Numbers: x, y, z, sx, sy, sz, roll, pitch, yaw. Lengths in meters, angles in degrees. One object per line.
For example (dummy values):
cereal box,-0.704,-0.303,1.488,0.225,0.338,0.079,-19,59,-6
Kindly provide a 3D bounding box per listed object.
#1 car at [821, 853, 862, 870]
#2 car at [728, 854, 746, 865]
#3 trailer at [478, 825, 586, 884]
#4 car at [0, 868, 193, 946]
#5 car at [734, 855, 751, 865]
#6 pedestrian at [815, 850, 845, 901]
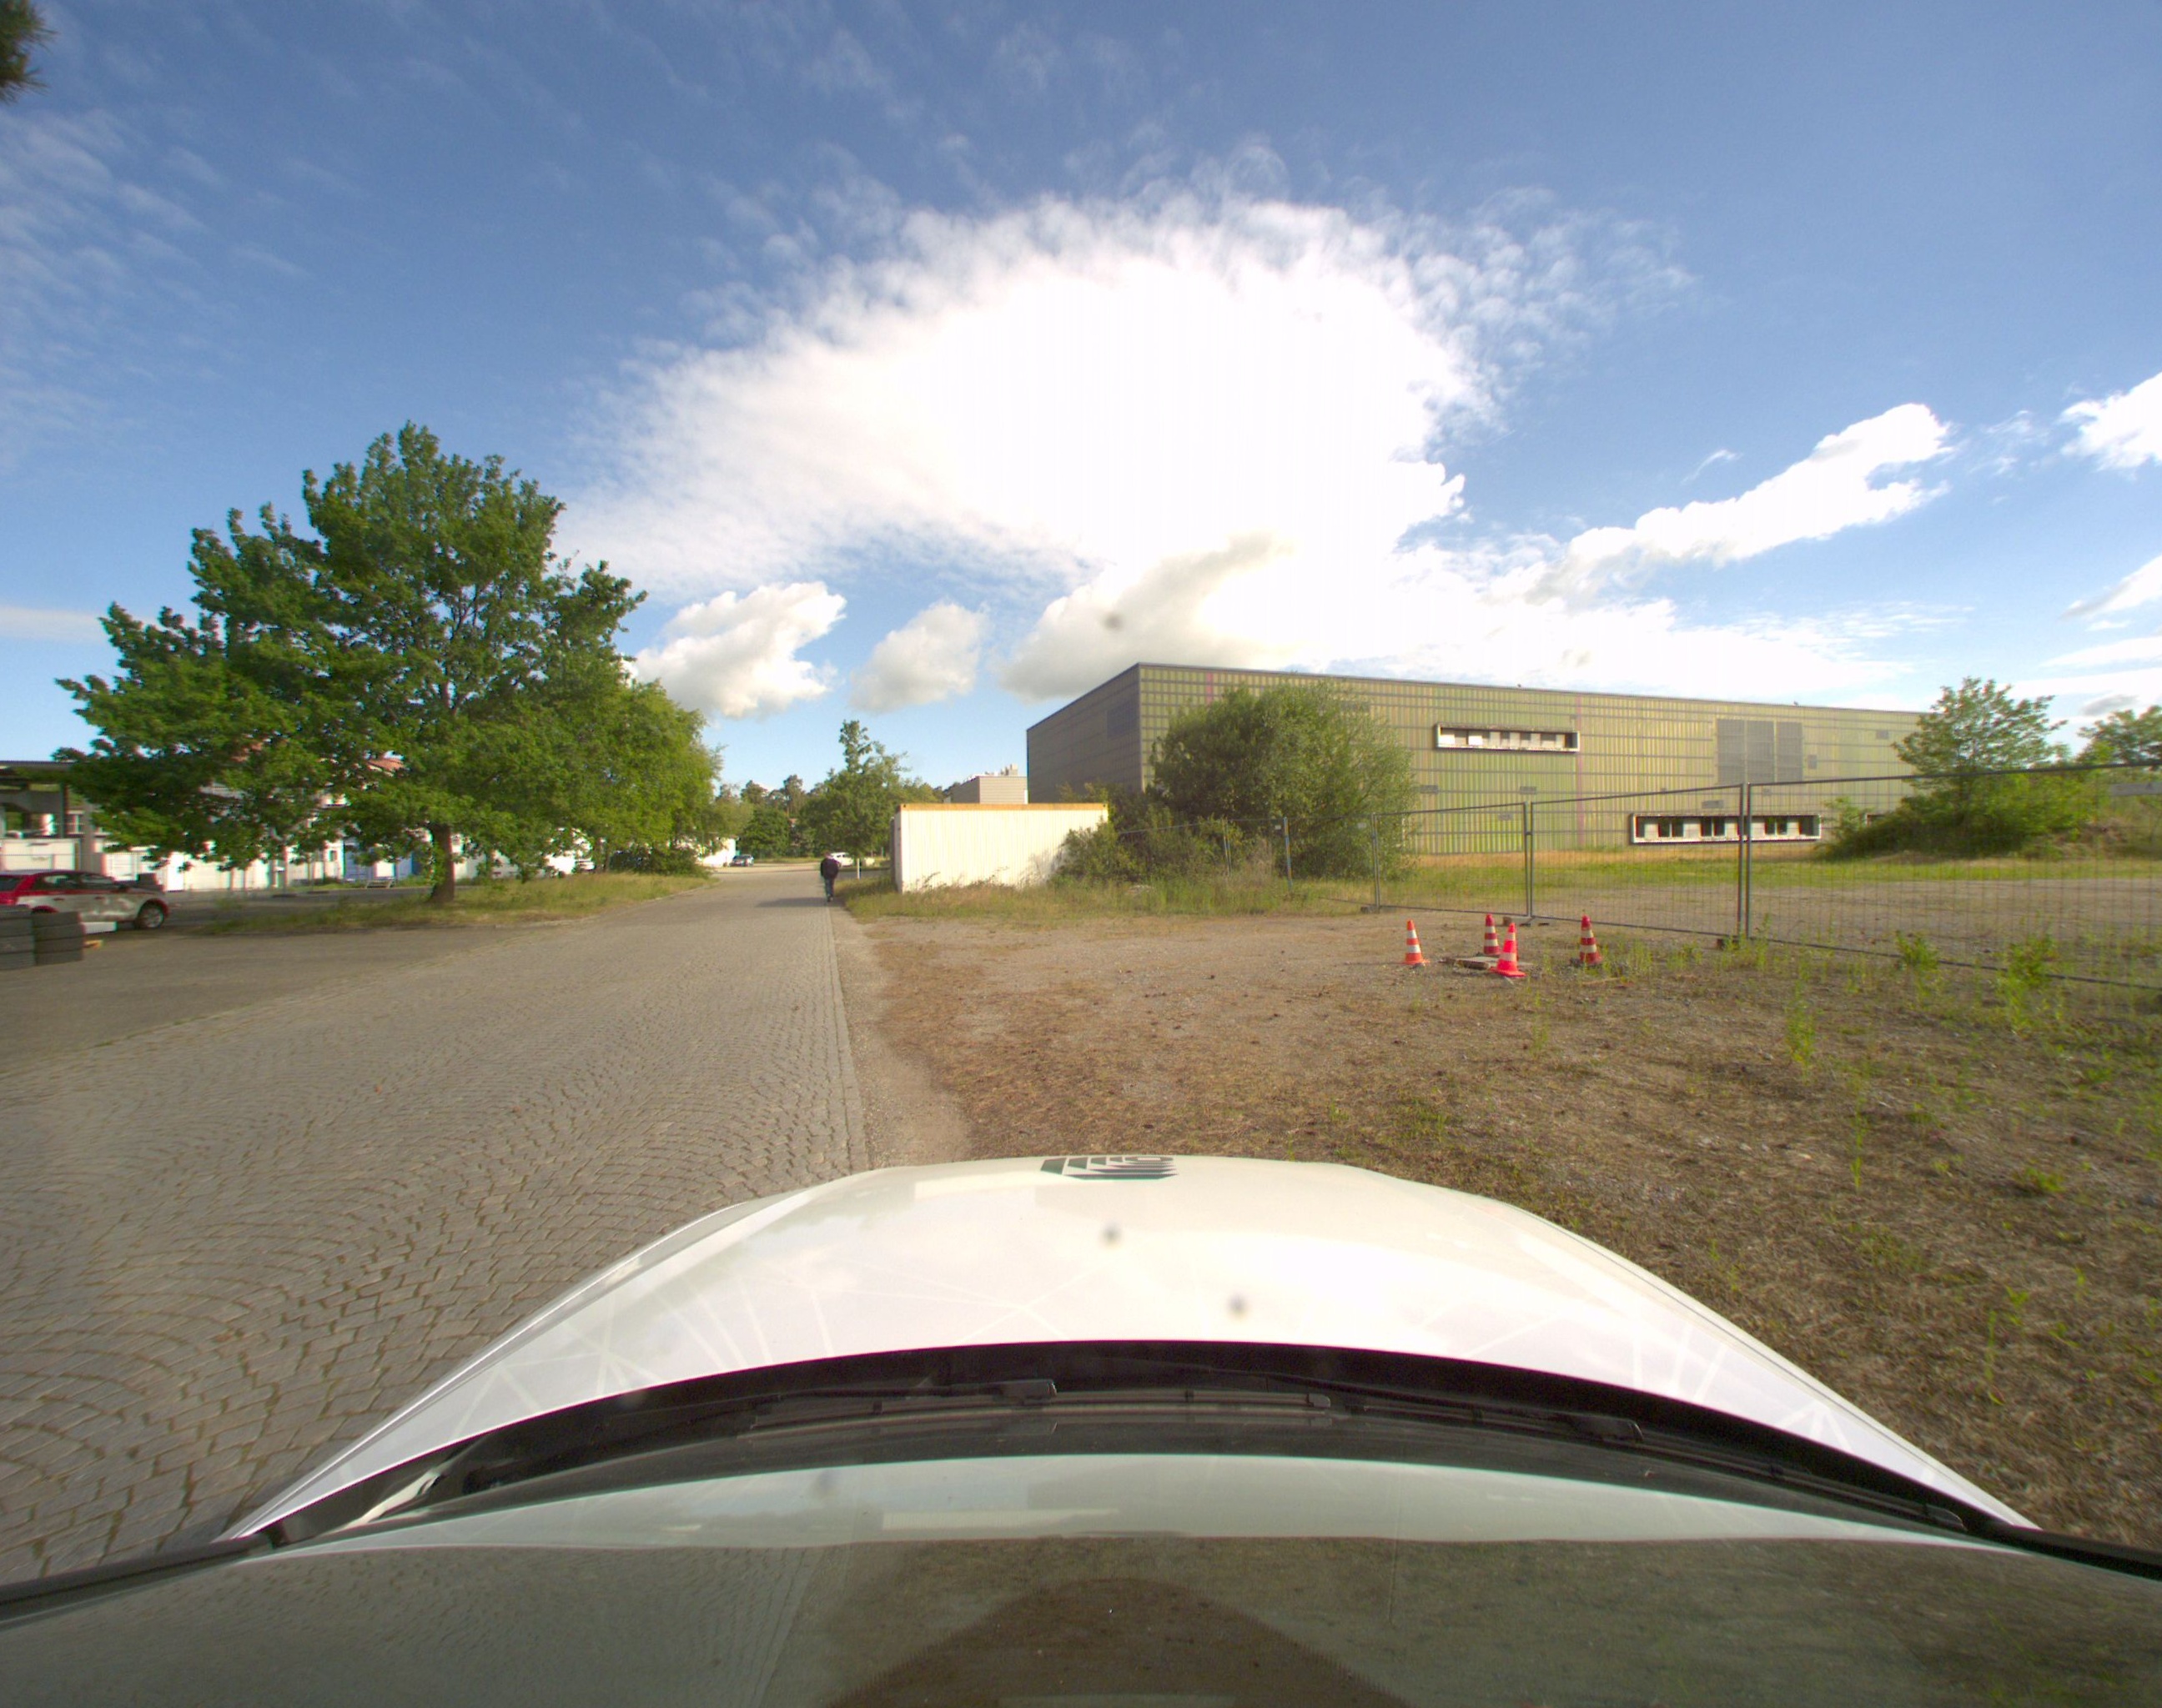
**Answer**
car,-25.180,0.755,85.774,3.992,1.643,1.991,-1,0,-14
car,-44.209,0.685,104.516,2.003,1.371,3.968,-1,1,-25
trailer,-35.436,0.007,53.091,2.923,3.471,9.846,-1,0,-16
car,-22.168,1.084,17.789,1.724,1.464,3.984,-1,0,-12
car,-47.441,0.852,114.205,2.003,1.376,3.967,-1,0,-25
pedestrian,-7.993,0.659,25.945,0.867,1.559,1.022,-1,0,-17
